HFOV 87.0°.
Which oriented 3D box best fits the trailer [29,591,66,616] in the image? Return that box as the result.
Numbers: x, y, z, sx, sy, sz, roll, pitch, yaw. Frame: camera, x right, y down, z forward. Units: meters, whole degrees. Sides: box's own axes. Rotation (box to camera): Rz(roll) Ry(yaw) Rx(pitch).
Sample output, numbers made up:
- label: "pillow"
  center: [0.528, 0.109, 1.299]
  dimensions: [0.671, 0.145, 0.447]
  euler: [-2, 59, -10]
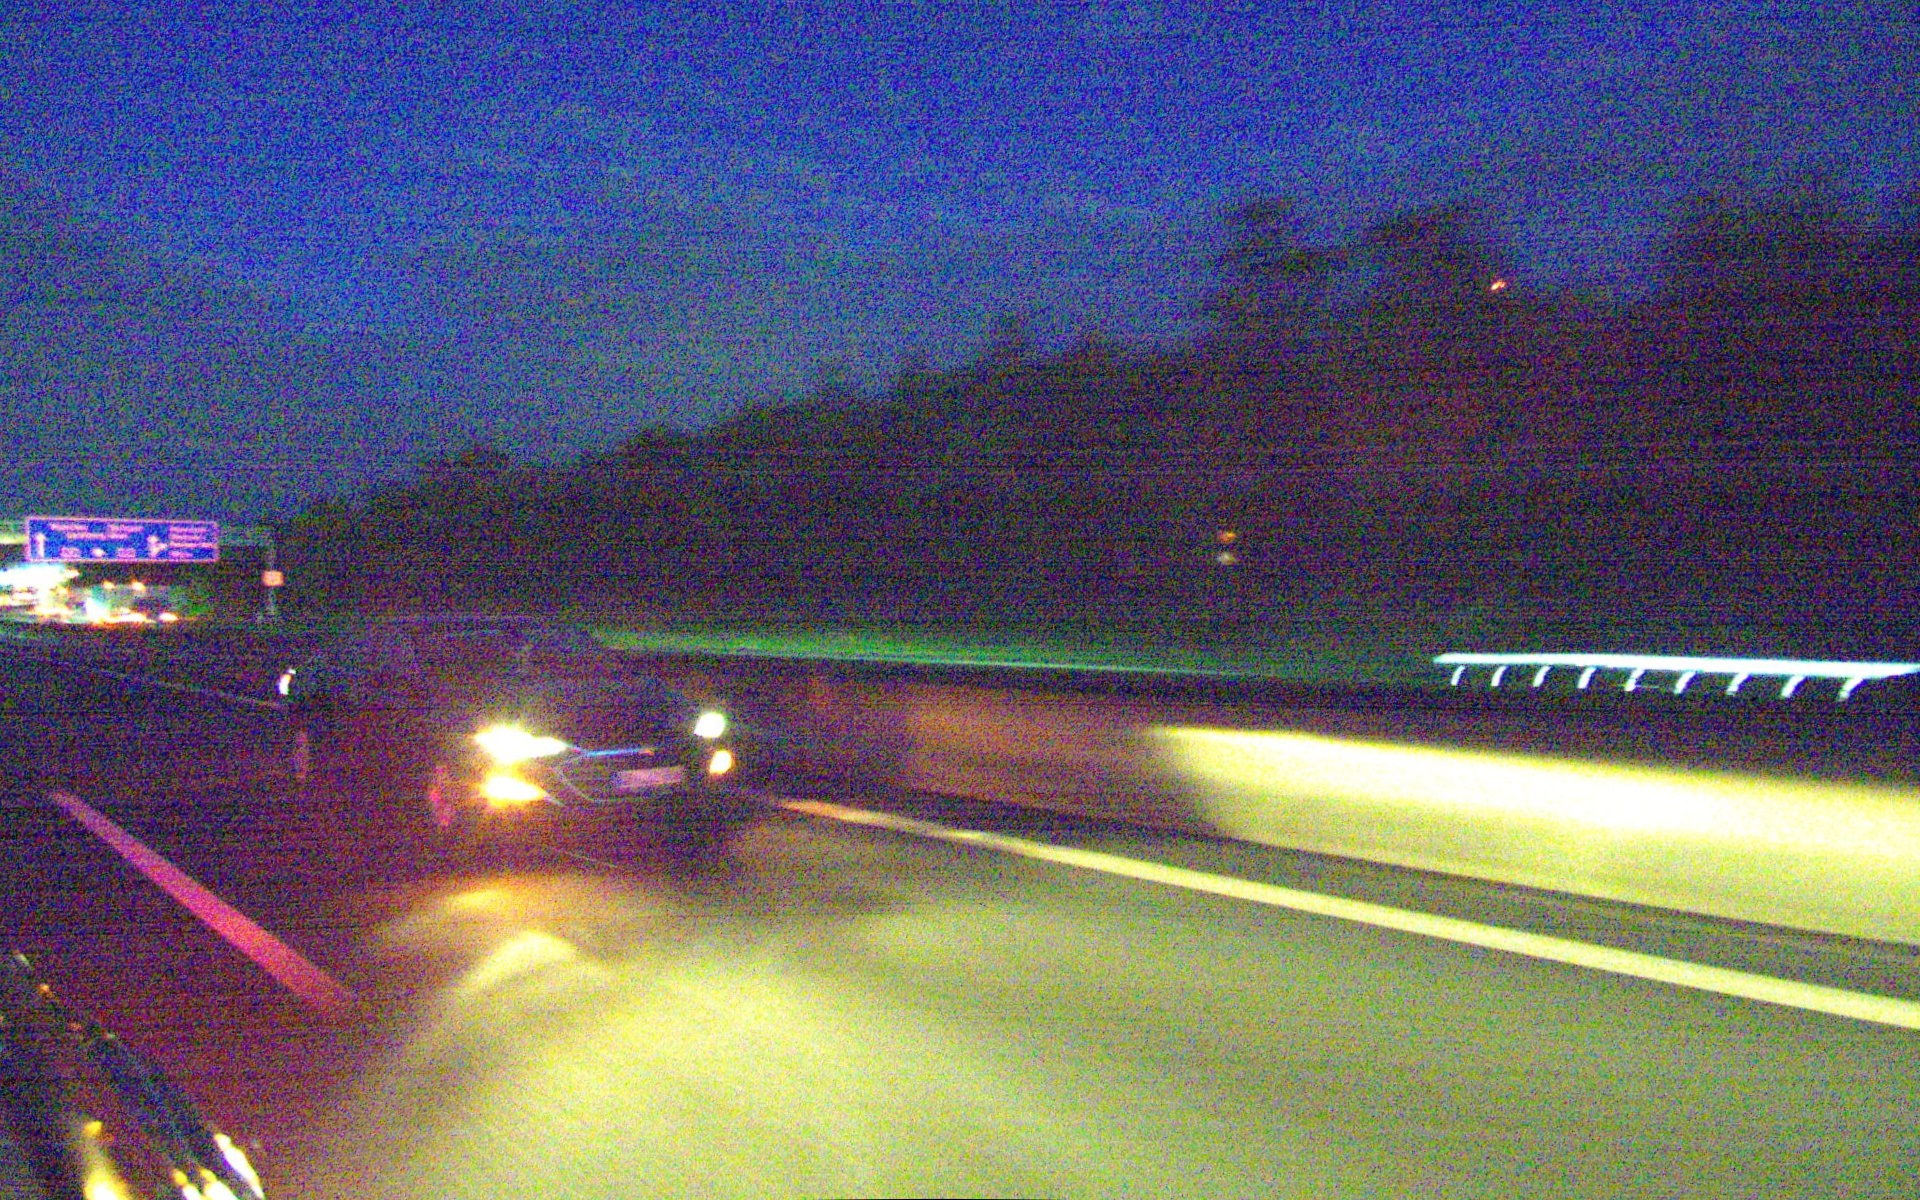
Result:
- label: "trailer"
  center: [-151.889, 0.624, 168.423]
  dimensions: [14.049, 4.010, 3.392]
  euler: [-1, 0, 43]

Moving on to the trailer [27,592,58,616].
- label: "trailer"
  center: [-157.293, 0.671, 173.492]
  dimensions: [7.352, 4.010, 3.393]
  euler: [-1, 0, 43]

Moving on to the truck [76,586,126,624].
- label: "truck"
  center: [-95.028, 0.570, 111.913]
  dimensions: [6.205, 4.010, 3.394]
  euler: [-1, 0, 42]

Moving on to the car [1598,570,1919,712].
- label: "car"
  center: [10.072, 0.436, 11.822]
  dimensions: [4.204, 1.478, 1.990]
  euler: [-1, -1, 40]

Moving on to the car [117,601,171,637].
- label: "car"
  center: [-59.342, 1.368, 73.562]
  dimensions: [6.213, 2.537, 2.079]
  euler: [-1, -1, 42]

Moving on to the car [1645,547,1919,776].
- label: "car"
  center: [8.129, 0.444, 7.801]
  dimensions: [4.482, 1.682, 1.989]
  euler: [-1, -1, 42]

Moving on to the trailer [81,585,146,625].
- label: "trailer"
  center: [-89.992, 0.561, 107.396]
  dimensions: [13.808, 4.010, 3.394]
  euler: [-1, 0, 42]

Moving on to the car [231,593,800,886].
- label: "car"
  center: [-3.827, 0.798, 7.959]
  dimensions: [5.649, 1.530, 1.972]
  euler: [-2, -1, 42]
